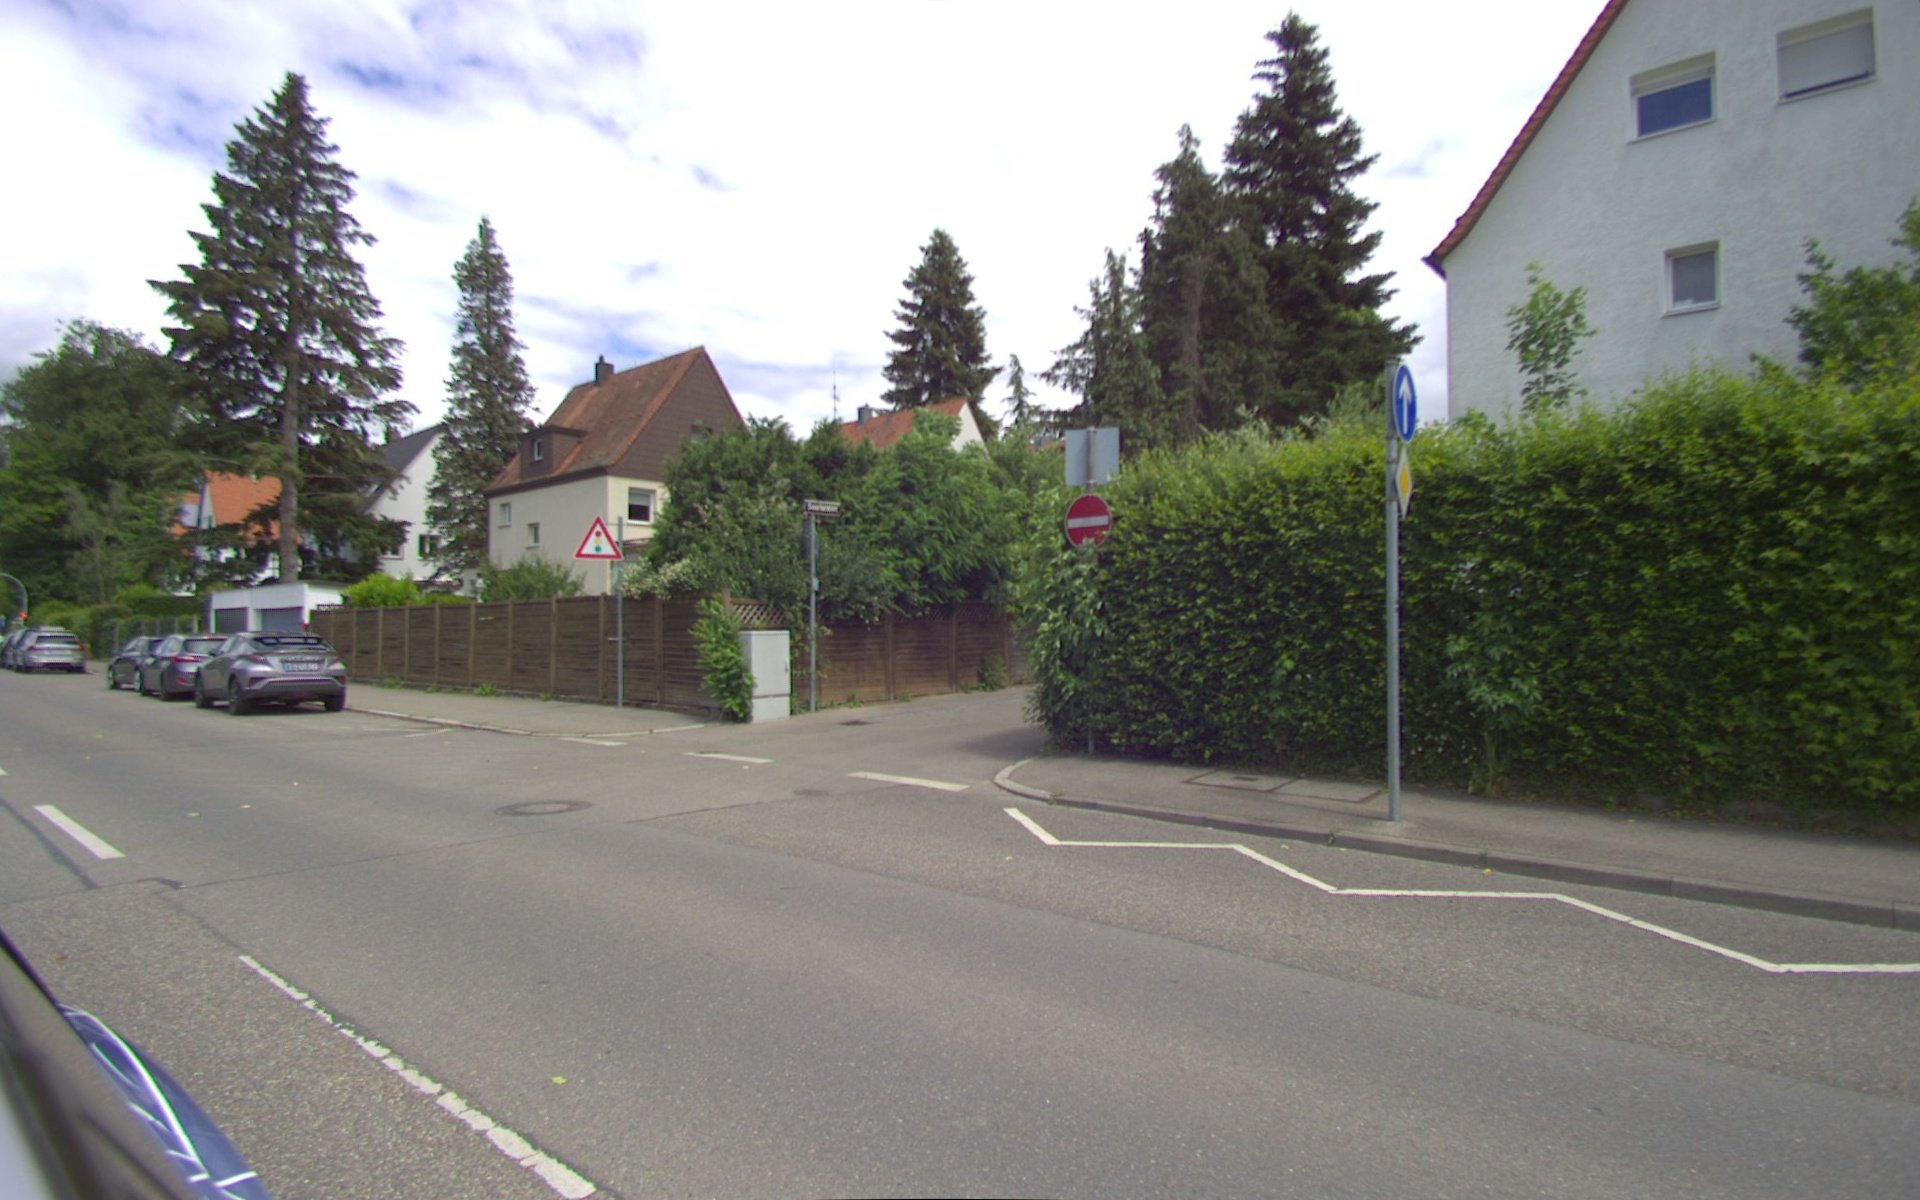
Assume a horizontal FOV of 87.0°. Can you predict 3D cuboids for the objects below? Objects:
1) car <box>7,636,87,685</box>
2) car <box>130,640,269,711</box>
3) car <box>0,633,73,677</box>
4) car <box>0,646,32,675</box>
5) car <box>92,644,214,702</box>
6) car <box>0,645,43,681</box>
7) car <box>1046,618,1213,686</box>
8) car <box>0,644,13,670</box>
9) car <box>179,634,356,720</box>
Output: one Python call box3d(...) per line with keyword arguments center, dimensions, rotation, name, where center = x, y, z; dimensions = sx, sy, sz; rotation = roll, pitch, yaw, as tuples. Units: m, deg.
box3d(center=(-36.755, 2.406, 40.718), dimensions=(4.707, 1.833, 1.963), rotation=(-3, -3, 43), name="car")
box3d(center=(-17.747, 1.682, 23.525), dimensions=(4.489, 1.470, 1.846), rotation=(-2, -3, 43), name="car")
box3d(center=(-41.246, 2.405, 45.058), dimensions=(4.882, 1.768, 2.045), rotation=(-2, -1, 42), name="car")
box3d(center=(-50.573, 3.204, 53.619), dimensions=(1.785, 1.470, 5.071), rotation=(3, -5, -45), name="car")
box3d(center=(-21.515, 1.917, 26.939), dimensions=(3.900, 1.438, 1.635), rotation=(-3, -4, 38), name="car")
box3d(center=(-45.799, 3.048, 48.983), dimensions=(4.583, 1.691, 1.608), rotation=(-3, -5, 43), name="car")
box3d(center=(3.901, 1.133, 22.833), dimensions=(1.998, 1.382, 3.946), rotation=(-2, -3, 40), name="car")
box3d(center=(-58.634, 3.463, 61.333), dimensions=(1.683, 1.555, 3.744), rotation=(3, -5, -45), name="car")
box3d(center=(-13.674, 1.439, 19.874), dimensions=(4.648, 1.491, 1.971), rotation=(-2, -4, 44), name="car")
